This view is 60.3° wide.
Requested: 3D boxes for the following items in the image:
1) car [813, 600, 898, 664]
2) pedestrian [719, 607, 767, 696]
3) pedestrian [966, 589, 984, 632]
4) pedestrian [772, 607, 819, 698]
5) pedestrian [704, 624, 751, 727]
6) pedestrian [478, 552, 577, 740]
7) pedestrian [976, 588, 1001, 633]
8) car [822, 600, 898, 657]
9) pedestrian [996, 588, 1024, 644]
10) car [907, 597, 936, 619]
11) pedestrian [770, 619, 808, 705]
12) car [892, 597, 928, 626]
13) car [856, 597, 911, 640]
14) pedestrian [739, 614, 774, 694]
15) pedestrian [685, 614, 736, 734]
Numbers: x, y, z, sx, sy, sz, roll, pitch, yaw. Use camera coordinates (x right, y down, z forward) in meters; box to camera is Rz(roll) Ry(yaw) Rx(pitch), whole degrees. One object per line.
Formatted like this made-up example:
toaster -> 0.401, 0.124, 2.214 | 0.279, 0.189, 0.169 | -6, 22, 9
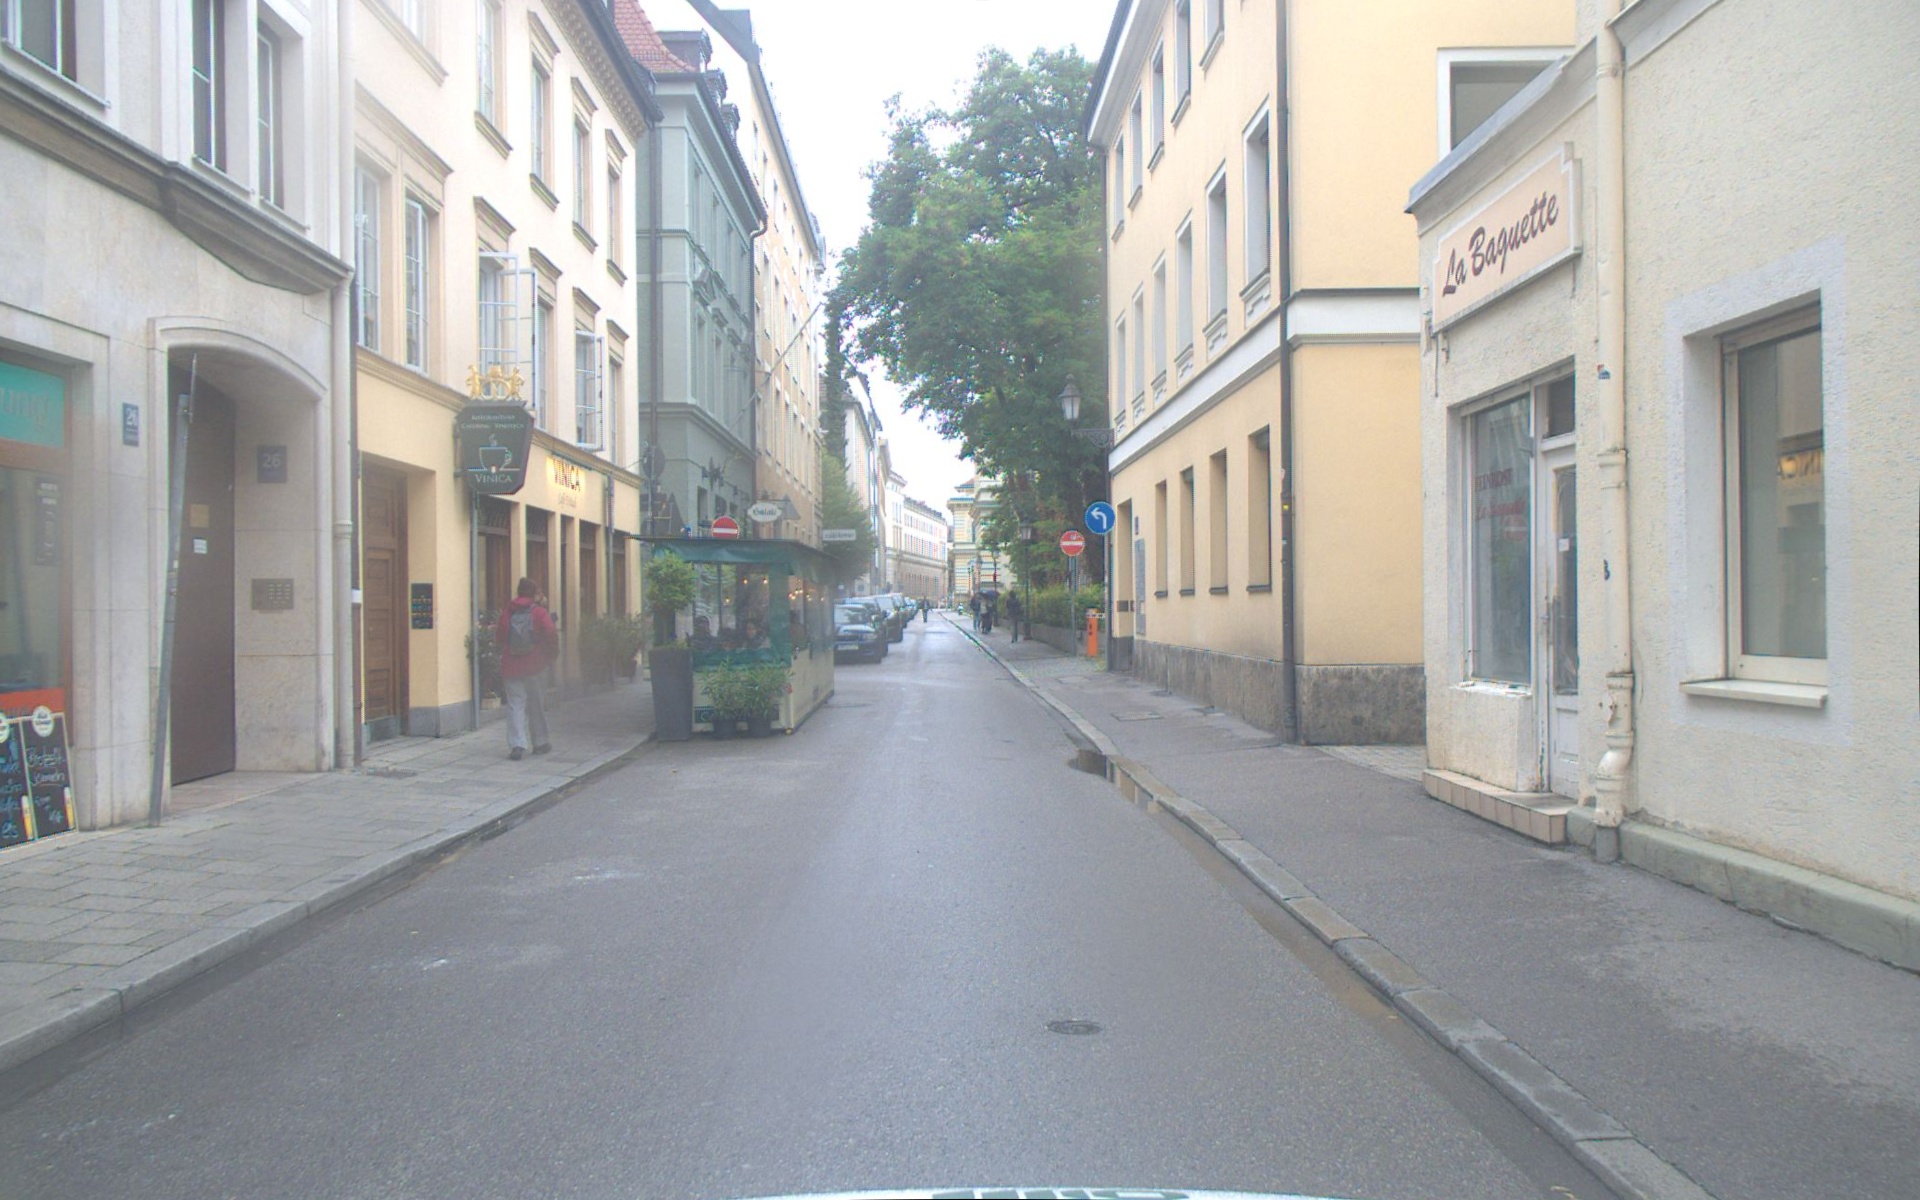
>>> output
car -> -2.521, 0.759, 40.707 | 1.742, 1.492, 3.663 | 0, 0, 2
pedestrian -> -3.321, 0.781, 25.347 | 0.660, 1.350, 0.696 | 0, 0, -3
pedestrian -> 0.642, 0.456, 72.555 | 0.777, 1.833, 0.903 | 0, 0, 0
pedestrian -> -2.494, 0.791, 25.108 | 0.660, 1.350, 0.696 | 0, 0, -3
pedestrian -> -2.807, 0.904, 19.996 | 0.499, 1.208, 0.630 | 0, 0, -3
pedestrian -> -4.135, 0.429, 15.864 | 0.750, 1.738, 0.785 | -1, 0, -4
pedestrian -> 1.148, 0.424, 67.626 | 0.995, 1.833, 1.349 | 0, 0, 0
car -> -2.699, 0.753, 45.182 | 1.742, 1.492, 3.542 | 0, 0, 2
pedestrian -> 1.656, 0.527, 54.807 | 0.862, 1.833, 1.046 | 0, 0, 0
car -> -2.595, 0.530, 112.251 | 1.742, 1.492, 3.542 | 0, 0, 2
pedestrian -> -2.427, 0.874, 23.471 | 0.499, 1.196, 0.630 | 0, 0, -3
car -> -2.712, 0.605, 89.870 | 1.742, 1.492, 3.542 | 0, 0, 2
car -> -2.755, 0.655, 60.139 | 1.742, 1.492, 3.542 | 0, 0, 2
pedestrian -> -3.238, 0.853, 26.295 | 0.499, 1.259, 0.630 | 0, 0, -3
pedestrian -> -2.860, 0.836, 18.990 | 0.499, 1.350, 0.630 | 0, 0, -3
